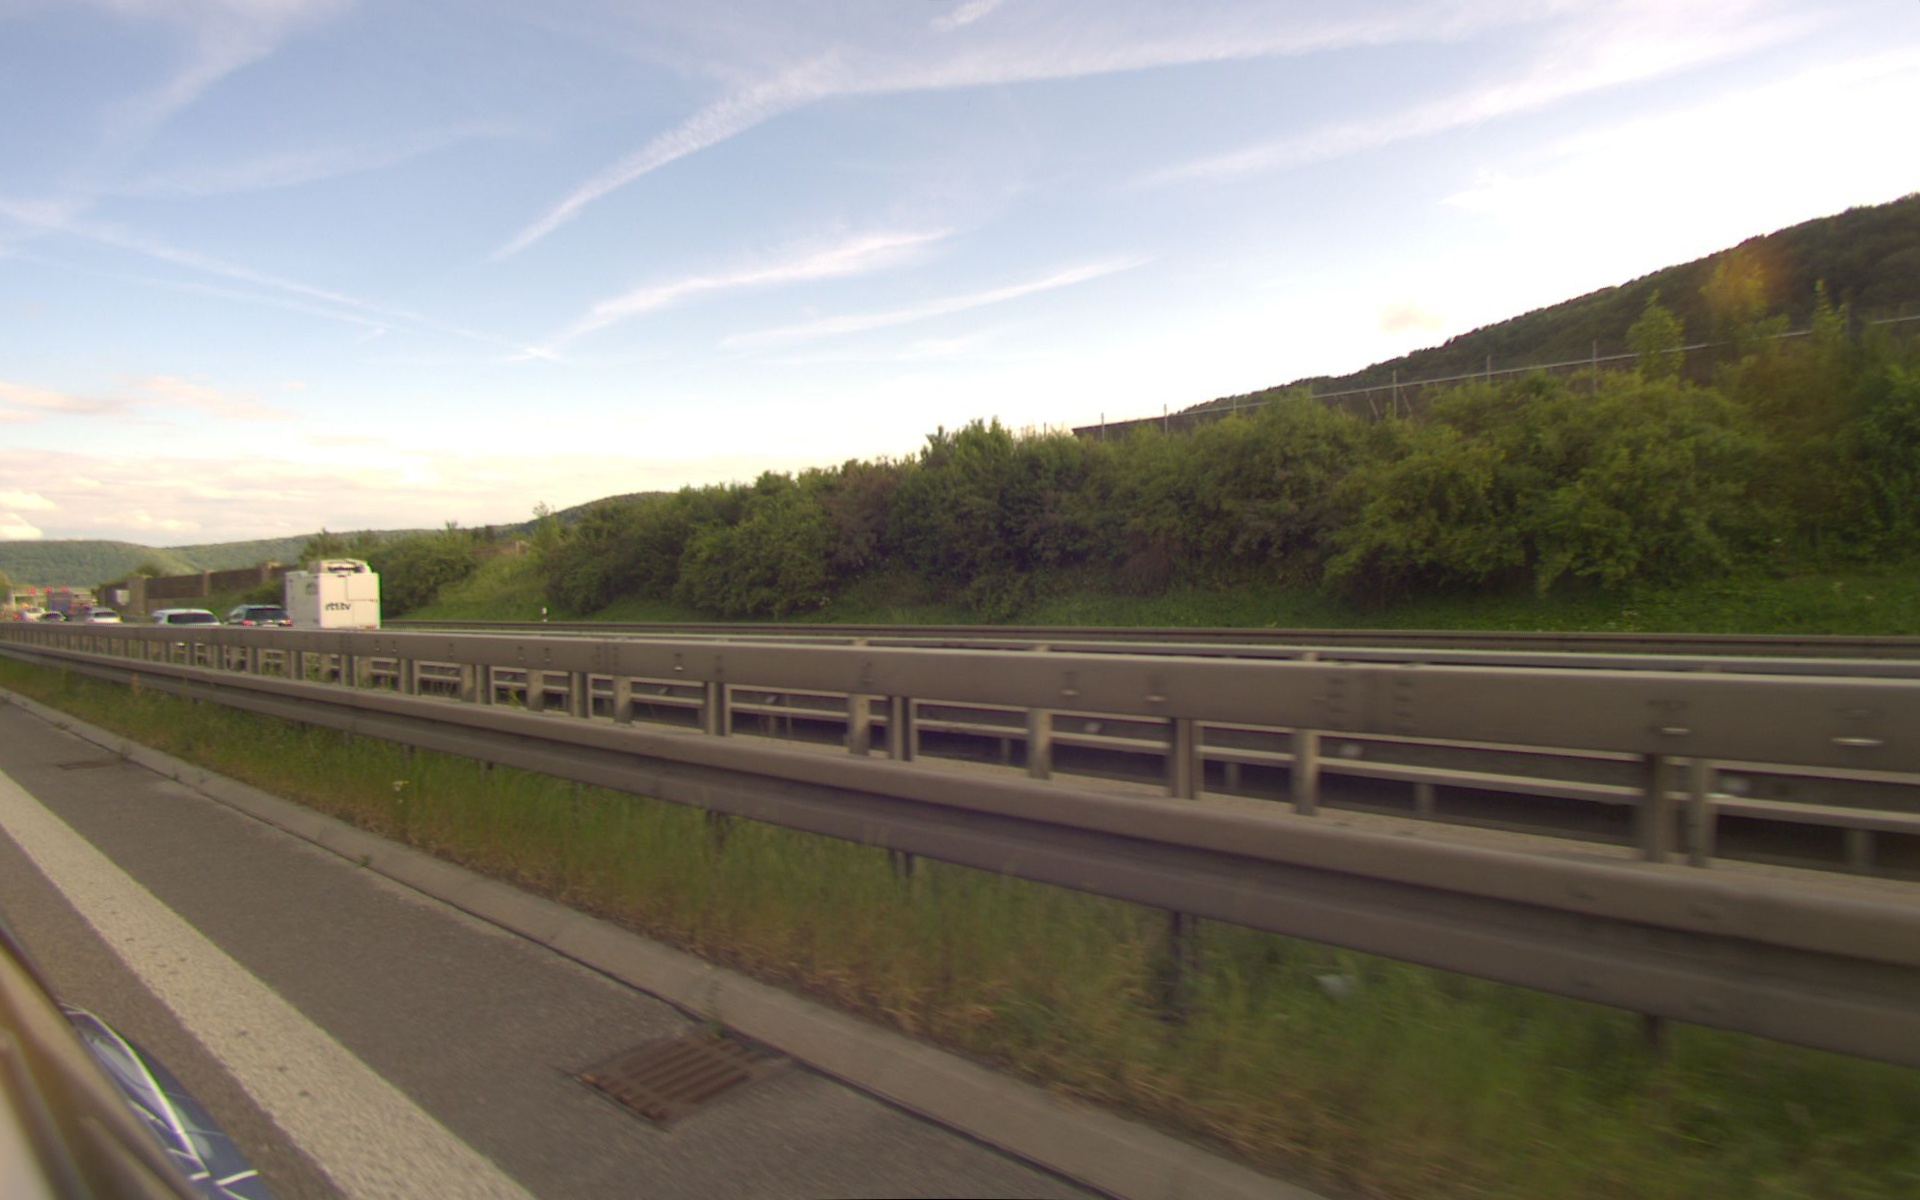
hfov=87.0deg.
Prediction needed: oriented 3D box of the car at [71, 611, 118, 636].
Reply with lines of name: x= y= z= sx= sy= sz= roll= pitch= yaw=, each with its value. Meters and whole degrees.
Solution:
car: x=-53.663 y=1.455 z=62.740 sx=4.343 sy=1.446 sz=1.626 roll=-1 pitch=0 yaw=41

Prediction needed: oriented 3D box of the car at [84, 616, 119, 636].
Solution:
car: x=-78.765 y=2.346 z=92.862 sx=4.879 sy=1.735 sz=1.908 roll=-1 pitch=-1 yaw=43

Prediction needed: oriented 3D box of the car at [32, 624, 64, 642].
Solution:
car: x=-78.114 y=2.794 z=86.665 sx=4.345 sy=1.446 sz=1.625 roll=-1 pitch=0 yaw=43

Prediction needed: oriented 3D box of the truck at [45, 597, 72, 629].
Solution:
truck: x=-129.171 y=1.926 z=144.973 sx=2.618 sy=4.311 sz=14.694 roll=0 pitch=-1 yaw=-43

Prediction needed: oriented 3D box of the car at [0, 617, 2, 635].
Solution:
car: x=-102.241 y=2.756 z=106.459 sx=4.345 sy=1.906 sz=1.908 roll=-1 pitch=-1 yaw=43

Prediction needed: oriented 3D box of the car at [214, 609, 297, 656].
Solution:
car: x=-26.988 y=1.212 z=38.713 sx=4.343 sy=1.669 sz=1.626 roll=-1 pitch=0 yaw=41

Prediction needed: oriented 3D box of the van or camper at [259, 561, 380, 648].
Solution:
van or camper: x=-28.866 y=0.239 z=45.455 sx=7.974 sy=3.578 sz=2.456 roll=-1 pitch=-1 yaw=42

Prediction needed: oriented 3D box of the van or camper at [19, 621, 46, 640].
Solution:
van or camper: x=-103.167 y=3.365 z=112.563 sx=5.401 sy=1.954 sz=1.828 roll=-1 pitch=-1 yaw=43

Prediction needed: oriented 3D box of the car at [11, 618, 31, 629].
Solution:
car: x=-119.705 y=3.027 z=129.013 sx=4.000 sy=1.407 sz=1.666 roll=-1 pitch=-1 yaw=43

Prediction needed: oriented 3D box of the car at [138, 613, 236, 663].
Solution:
car: x=-23.693 y=1.128 z=30.972 sx=3.762 sy=1.420 sz=1.761 roll=-1 pitch=-1 yaw=43
